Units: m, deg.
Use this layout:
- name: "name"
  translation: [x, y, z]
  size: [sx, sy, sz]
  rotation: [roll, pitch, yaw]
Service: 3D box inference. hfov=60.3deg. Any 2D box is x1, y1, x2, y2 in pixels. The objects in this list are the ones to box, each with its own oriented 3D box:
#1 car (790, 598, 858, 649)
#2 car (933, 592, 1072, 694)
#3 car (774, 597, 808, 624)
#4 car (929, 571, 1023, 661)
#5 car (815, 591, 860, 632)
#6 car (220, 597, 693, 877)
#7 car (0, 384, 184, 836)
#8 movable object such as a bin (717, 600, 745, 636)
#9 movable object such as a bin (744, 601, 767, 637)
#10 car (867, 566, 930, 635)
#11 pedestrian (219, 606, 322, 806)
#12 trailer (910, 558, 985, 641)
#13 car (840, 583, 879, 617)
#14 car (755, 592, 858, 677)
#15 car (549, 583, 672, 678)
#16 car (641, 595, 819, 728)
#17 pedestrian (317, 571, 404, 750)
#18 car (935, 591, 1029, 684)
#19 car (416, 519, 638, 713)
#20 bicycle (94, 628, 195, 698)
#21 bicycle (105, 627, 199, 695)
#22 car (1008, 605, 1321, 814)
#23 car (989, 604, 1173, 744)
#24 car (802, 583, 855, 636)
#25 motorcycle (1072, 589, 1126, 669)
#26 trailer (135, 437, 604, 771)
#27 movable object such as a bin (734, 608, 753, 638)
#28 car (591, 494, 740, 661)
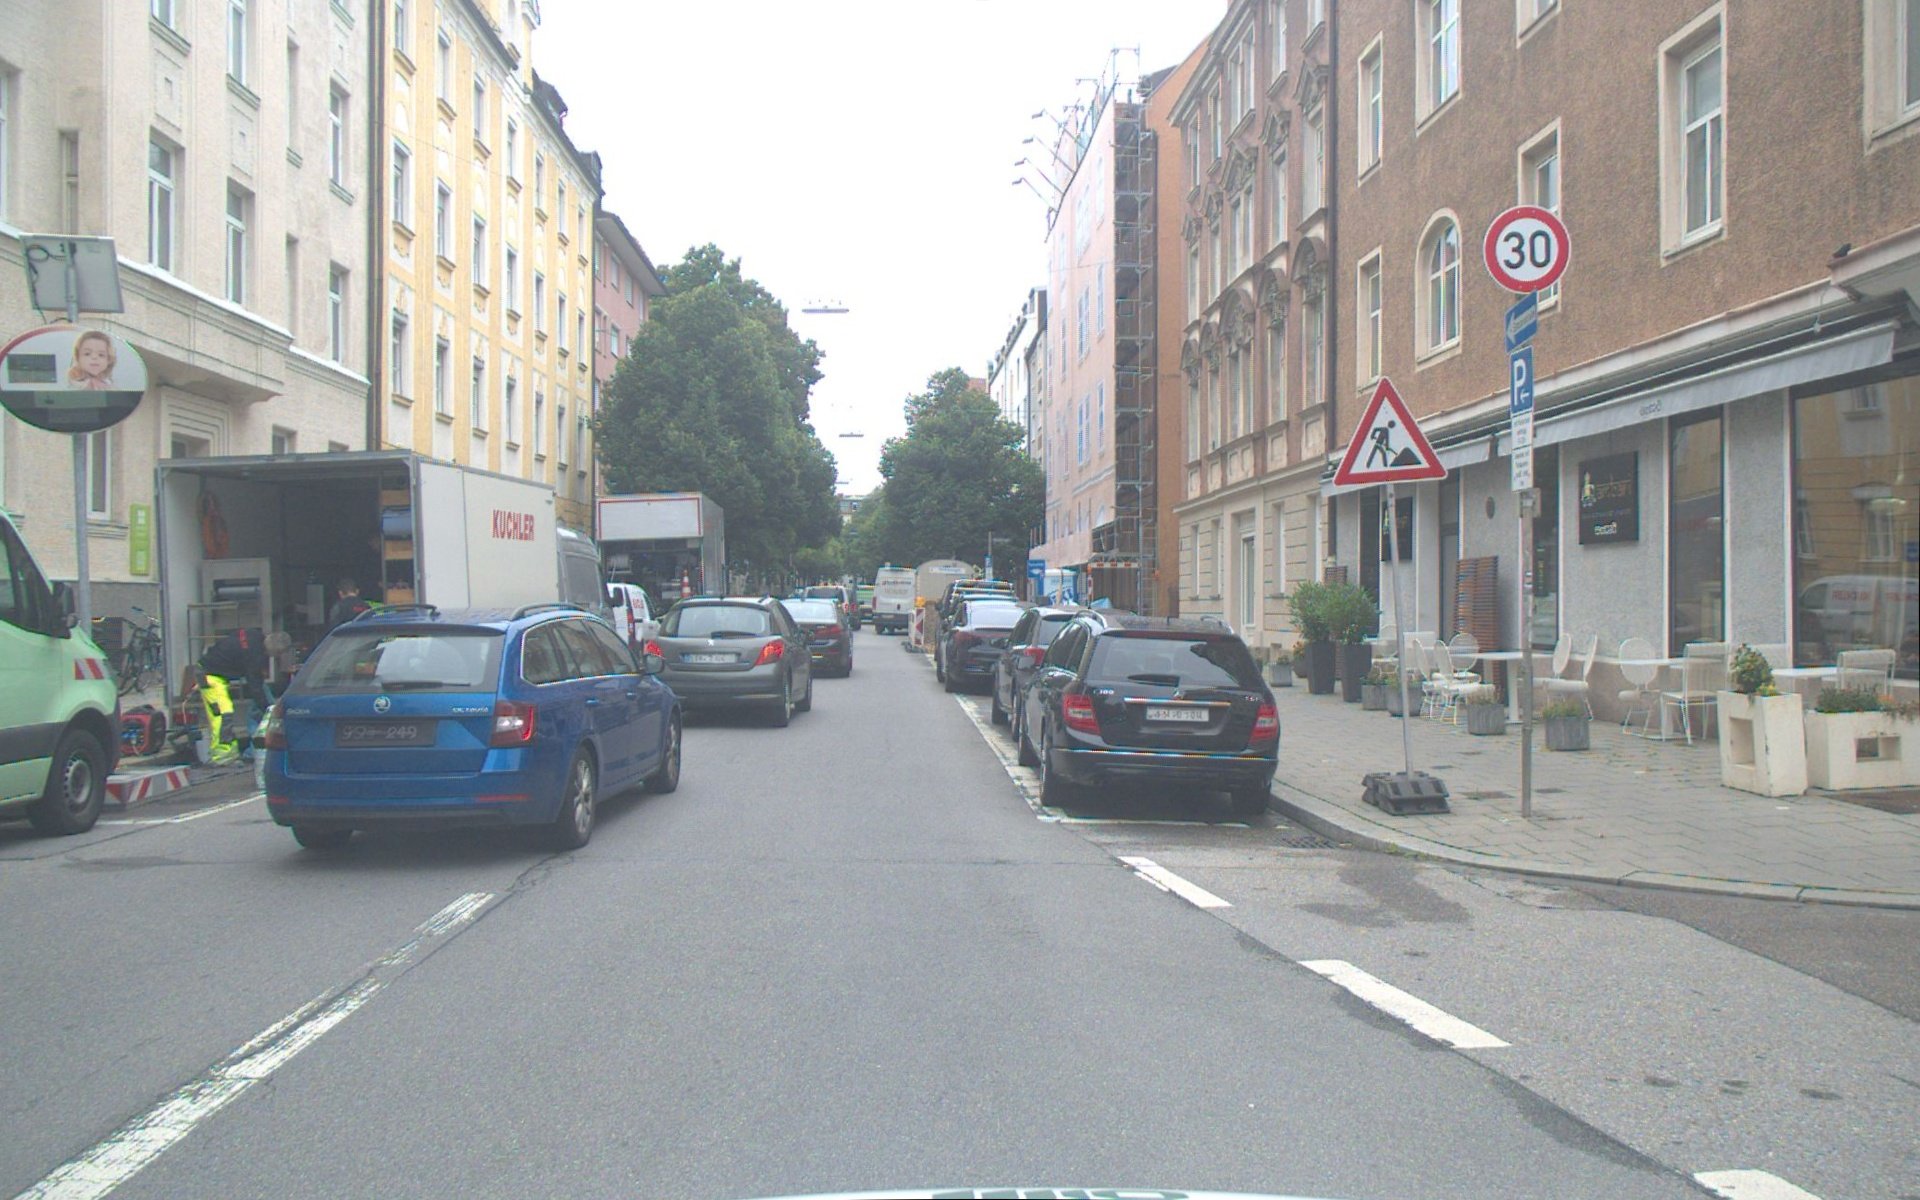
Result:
- name: "car"
  translation: [-4.017, 0.669, 49.333]
  size: [1.830, 1.371, 4.345]
  rotation: [1, 0, -3]
- name: "car"
  translation: [0.632, 0.671, 28.757]
  size: [1.893, 1.580, 5.632]
  rotation: [1, 0, -4]
- name: "car"
  translation: [-10.023, 0.616, 98.250]
  size: [1.776, 1.504, 3.998]
  rotation: [1, 0, -3]
- name: "car"
  translation: [0.321, 0.455, 40.157]
  size: [2.040, 1.955, 5.137]
  rotation: [1, -3, -2]
- name: "car"
  translation: [-5.357, 0.489, 72.803]
  size: [1.830, 1.682, 4.345]
  rotation: [1, 0, -3]
- name: "car"
  translation: [-3.033, 0.733, 10.965]
  size: [1.752, 1.486, 4.315]
  rotation: [0, 0, 1]
- name: "car"
  translation: [-6.567, 0.057, 8.579]
  size: [2.098, 2.617, 6.791]
  rotation: [0, 0, -2]
- name: "movable object such as a bin"
  translation: [-9.345, 0.734, 67.575]
  size: [1.061, 1.400, 1.082]
  rotation: [-2, 0, -7]
- name: "movable object such as a bin"
  translation: [-8.375, 0.769, 67.719]
  size: [0.900, 1.400, 1.078]
  rotation: [-2, 0, -7]
- name: "car"
  translation: [-2.526, 0.036, 69.283]
  size: [2.068, 2.710, 5.502]
  rotation: [1, -1, 3]
- name: "pedestrian"
  translation: [-5.723, 0.857, 13.756]
  size: [0.750, 1.608, 0.633]
  rotation: [0, -1, -20]
- name: "trailer"
  translation: [-0.555, 0.013, 62.300]
  size: [2.452, 2.889, 6.897]
  rotation: [1, -1, -3]
- name: "car"
  translation: [-5.352, -0.018, 88.017]
  size: [1.968, 1.682, 4.343]
  rotation: [1, 0, -4]
- name: "car"
  translation: [-2.932, 0.614, 32.214]
  size: [1.830, 1.479, 4.344]
  rotation: [1, 0, -4]
- name: "car"
  translation: [-7.188, 0.598, 34.425]
  size: [1.727, 1.810, 4.325]
  rotation: [-2, 0, -2]
- name: "car"
  translation: [-2.673, 0.686, 19.948]
  size: [1.706, 1.446, 3.663]
  rotation: [0, 0, -1]
- name: "pedestrian"
  translation: [-5.714, 0.562, 15.753]
  size: [0.751, 1.659, 0.633]
  rotation: [0, -1, -22]
- name: "car"
  translation: [0.390, 0.741, 34.102]
  size: [1.659, 1.706, 4.406]
  rotation: [3, -1, -2]
- name: "car"
  translation: [-6.833, 0.218, 27.017]
  size: [2.015, 2.632, 6.872]
  rotation: [-4, 0, -3]
- name: "bicycle"
  translation: [-11.528, 0.873, 23.431]
  size: [0.386, 0.930, 1.589]
  rotation: [3, -1, 9]
- name: "bicycle"
  translation: [-11.832, 0.873, 24.281]
  size: [0.407, 0.930, 1.757]
  rotation: [3, -1, 2]
- name: "car"
  translation: [1.484, 0.761, 13.790]
  size: [1.810, 1.429, 4.785]
  rotation: [0, 0, -3]
- name: "car"
  translation: [1.281, 0.770, 19.001]
  size: [1.541, 1.419, 4.179]
  rotation: [0, 0, -4]
- name: "car"
  translation: [-4.954, 0.319, 62.617]
  size: [1.830, 1.902, 4.345]
  rotation: [1, 0, -3]
- name: "motorcycle"
  translation: [2.733, 0.557, 32.682]
  size: [0.854, 1.531, 1.997]
  rotation: [0, 0, -1]
- name: "trailer"
  translation: [-6.429, -0.014, 19.533]
  size: [2.747, 3.020, 7.598]
  rotation: [-3, 1, -1]
- name: "movable object such as a bin"
  translation: [-8.729, 0.921, 66.780]
  size: [0.698, 1.168, 0.635]
  rotation: [-2, 0, -7]
- name: "car"
  translation: [-7.421, -0.510, 42.772]
  size: [2.757, 3.884, 8.717]
  rotation: [0, 0, -3]
